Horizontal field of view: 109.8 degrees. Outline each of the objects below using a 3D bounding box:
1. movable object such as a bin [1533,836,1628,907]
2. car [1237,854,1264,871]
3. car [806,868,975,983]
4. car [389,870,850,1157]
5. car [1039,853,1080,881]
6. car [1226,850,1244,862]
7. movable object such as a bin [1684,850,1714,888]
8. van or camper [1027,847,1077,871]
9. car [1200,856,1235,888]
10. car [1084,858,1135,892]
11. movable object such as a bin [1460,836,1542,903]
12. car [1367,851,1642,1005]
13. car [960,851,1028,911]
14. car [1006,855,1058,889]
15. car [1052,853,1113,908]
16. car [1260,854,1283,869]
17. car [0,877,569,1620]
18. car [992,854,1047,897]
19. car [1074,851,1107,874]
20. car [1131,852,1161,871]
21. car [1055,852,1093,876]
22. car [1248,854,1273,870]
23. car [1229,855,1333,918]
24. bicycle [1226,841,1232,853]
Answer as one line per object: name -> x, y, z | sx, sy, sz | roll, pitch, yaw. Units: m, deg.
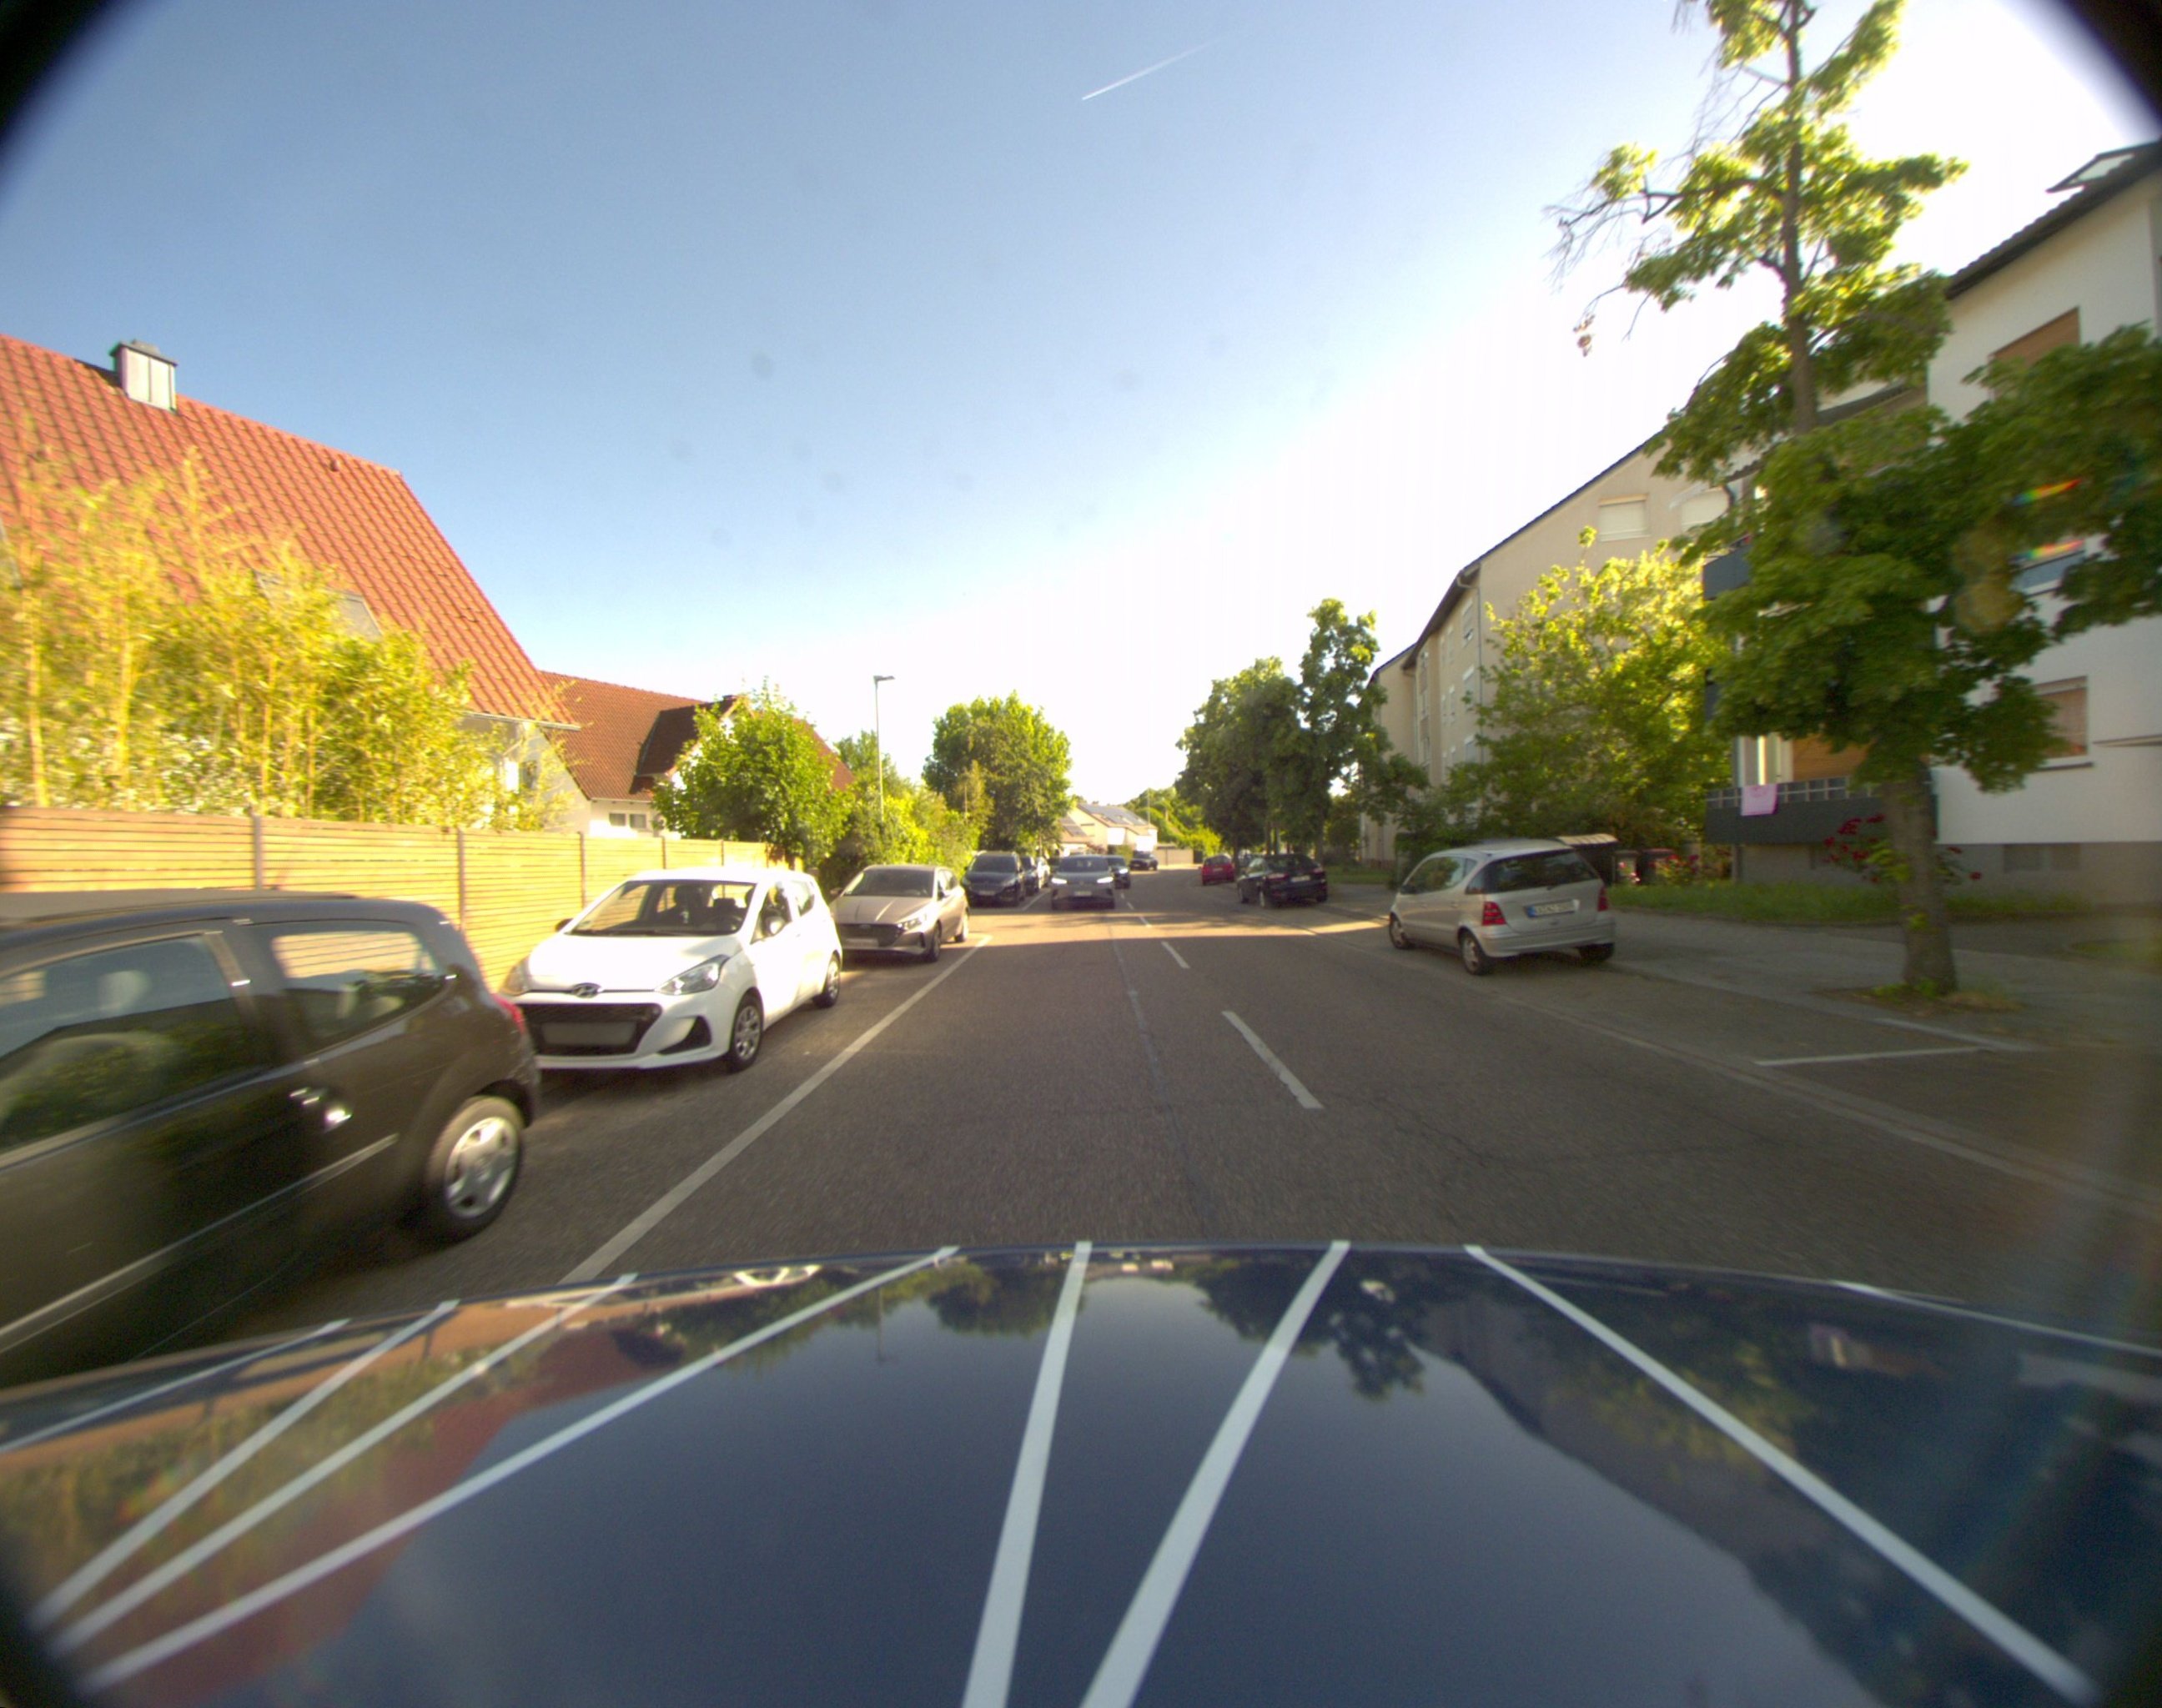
movable object such as a bin -> 11.267, 0.382, 17.207 | 1.293, 1.534, 1.327 | -1, 0, 3
car -> 16.522, 0.812, 73.893 | 1.649, 1.530, 3.710 | -1, 0, 27
car -> -2.908, 1.032, 12.462 | 1.646, 1.485, 3.889 | -1, 0, 2
car -> -3.373, 1.007, 6.541 | 1.729, 1.591, 3.815 | -2, 0, -3
car -> -1.251, 0.762, 46.792 | 1.656, 1.554, 4.468 | -1, 0, 10
car -> 21.459, 0.283, 105.784 | 1.637, 1.568, 3.710 | -1, 0, 23
movable object such as a bin -> 15.345, 0.365, 18.868 | 0.415, 0.915, 0.372 | -2, 1, 1
van or camper -> -2.491, 0.422, 65.603 | 3.843, 2.002, 1.954 | -1, 0, 28
car -> 7.303, 0.916, 40.719 | 1.660, 1.485, 3.911 | -5, 0, 9
car -> 1.317, 0.976, 36.904 | 1.582, 1.568, 3.700 | -1, 0, -13
movable object such as a bin -> 10.882, 0.385, 19.758 | 1.416, 1.653, 1.267 | -1, 0, 3
car -> 5.641, 0.863, 10.769 | 1.726, 1.583, 3.909 | -7, 0, 3
car -> -2.780, 0.808, 25.249 | 1.747, 1.802, 4.429 | -1, 0, 0
car -> -2.361, 0.833, 38.102 | 1.766, 1.554, 4.664 | -1, 0, 7
car -> 0.064, 0.794, 24.300 | 1.777, 1.624, 3.704 | -1, 0, 1
car -> 20.555, 0.802, 81.763 | 1.649, 1.530, 3.710 | -1, 0, 27
car -> -3.272, 0.940, 1.770 | 1.661, 1.591, 3.815 | -2, 0, -3
car -> -2.507, 0.843, 31.807 | 1.767, 1.666, 4.395 | -1, 0, 2
car -> 0.763, 0.611, 57.257 | 1.635, 1.565, 3.708 | 2, 1, 14
car -> 6.117, 0.683, 71.333 | 1.774, 1.727, 3.710 | 2, 1, 23
car -> -0.440, 0.649, 52.399 | 1.721, 1.565, 4.003 | 2, 1, 12
car -> 18.428, 0.823, 77.719 | 1.649, 1.530, 3.710 | -1, 0, 27
car -> 5.833, 0.872, 22.765 | 1.726, 1.485, 4.543 | -7, 0, -1
bicycle -> 12.200, -0.582, 62.586 | 0.357, 1.001, 1.201 | -2, -1, 19
